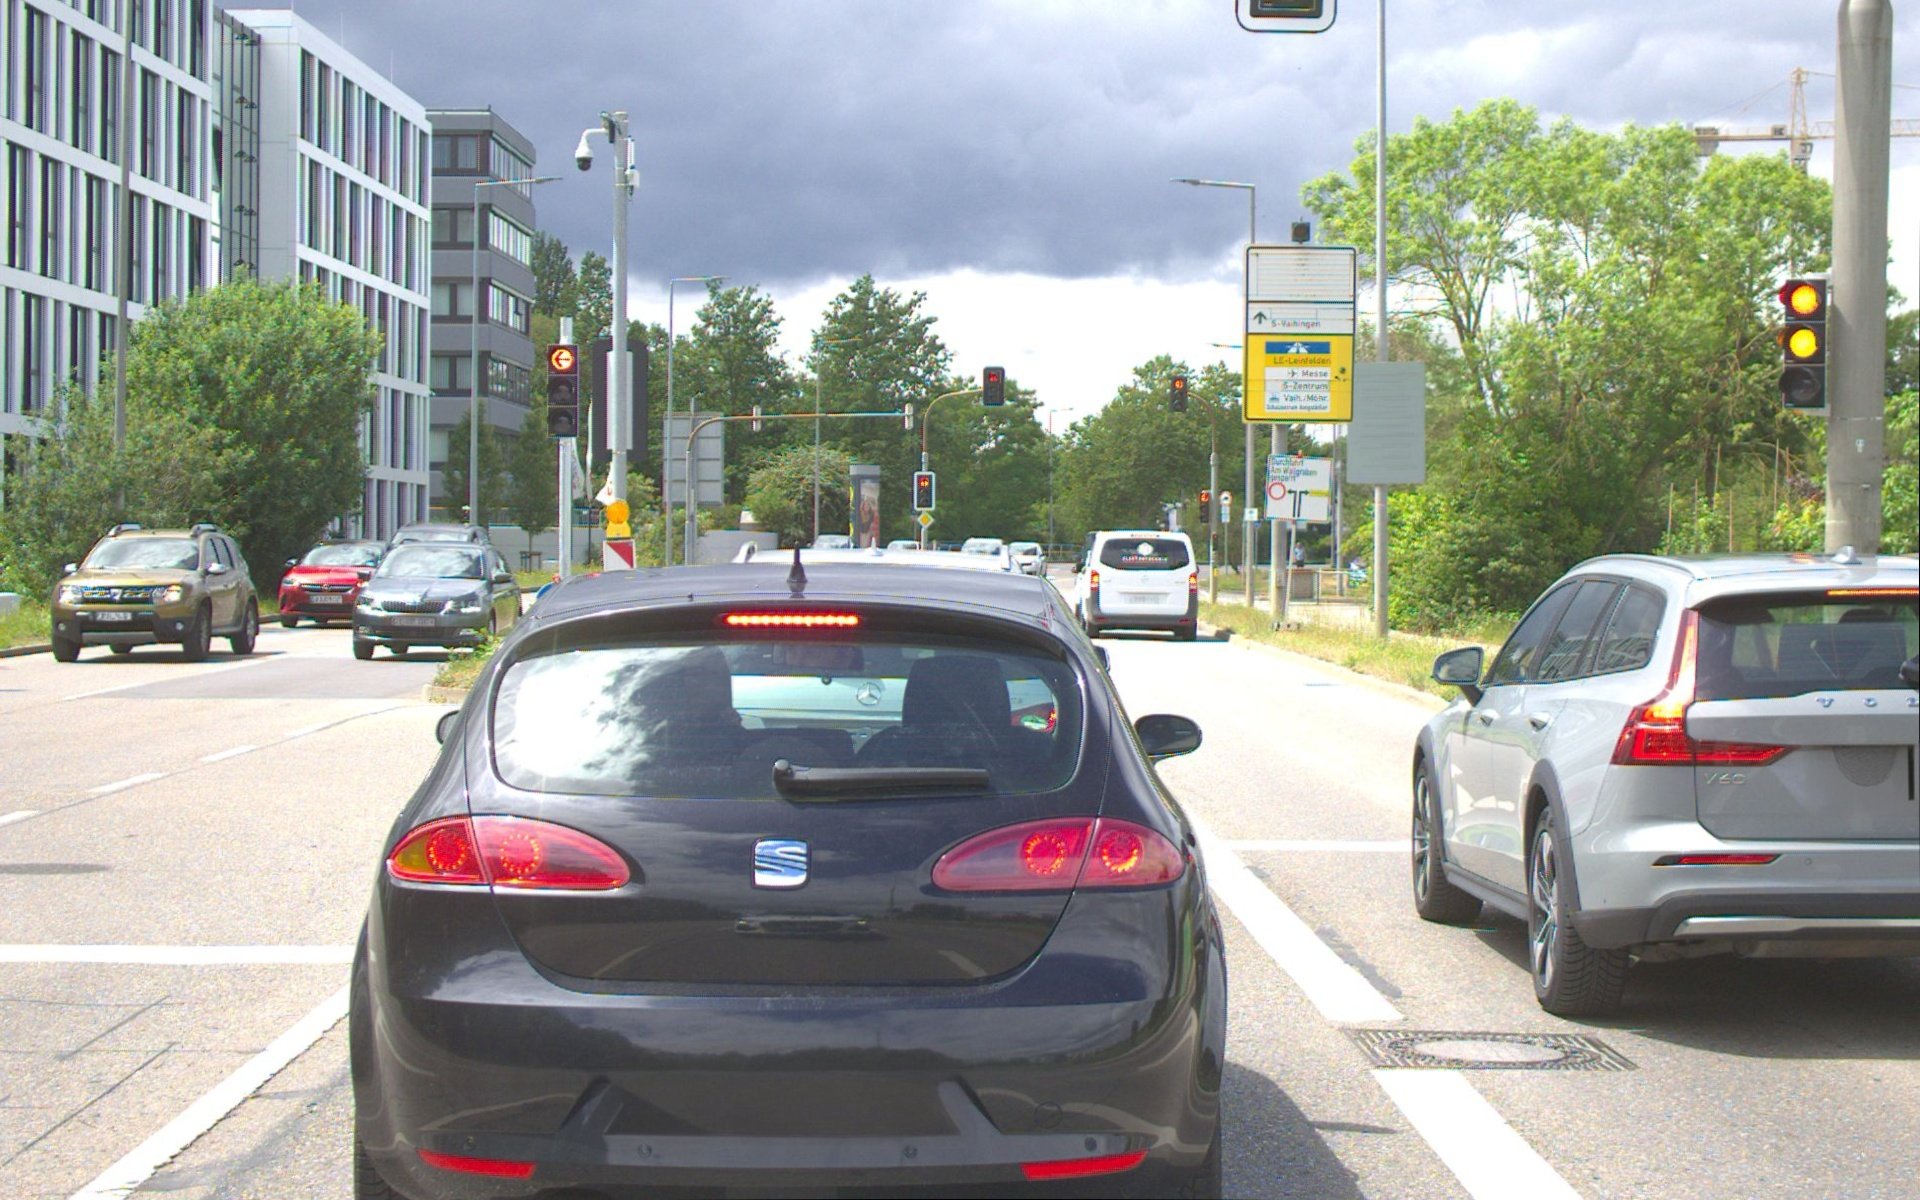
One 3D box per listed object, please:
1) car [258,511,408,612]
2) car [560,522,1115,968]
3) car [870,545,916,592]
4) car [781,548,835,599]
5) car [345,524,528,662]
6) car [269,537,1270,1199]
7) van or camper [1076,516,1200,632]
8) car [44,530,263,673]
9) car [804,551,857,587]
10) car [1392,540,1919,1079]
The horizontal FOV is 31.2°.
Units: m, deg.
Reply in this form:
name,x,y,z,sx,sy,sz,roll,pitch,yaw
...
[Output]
name,x,y,z,sx,sy,sz,roll,pitch,yaw
car,-10.266,-0.626,56.545,1.776,1.606,4.000,0,0,-1
car,-0.490,0.502,14.507,1.983,1.585,4.226,1,1,-1
car,-2.912,-1.380,151.090,1.993,2.007,4.000,0,0,-1
car,-5.982,-1.042,135.889,1.993,2.007,4.000,0,0,-1
car,-6.459,-0.124,42.782,1.668,1.519,4.008,-2,2,-1
car,-0.251,0.635,8.083,1.748,1.479,4.000,2,0,3
van or camper,3.029,-0.448,59.251,1.899,1.919,4.000,0,0,-1
car,-9.853,-0.009,42.257,1.751,1.625,4.000,-2,1,-1
car,-5.110,-1.218,135.952,1.993,1.404,4.000,0,0,-1
car,2.781,0.573,11.986,1.958,1.520,4.340,-1,0,0
